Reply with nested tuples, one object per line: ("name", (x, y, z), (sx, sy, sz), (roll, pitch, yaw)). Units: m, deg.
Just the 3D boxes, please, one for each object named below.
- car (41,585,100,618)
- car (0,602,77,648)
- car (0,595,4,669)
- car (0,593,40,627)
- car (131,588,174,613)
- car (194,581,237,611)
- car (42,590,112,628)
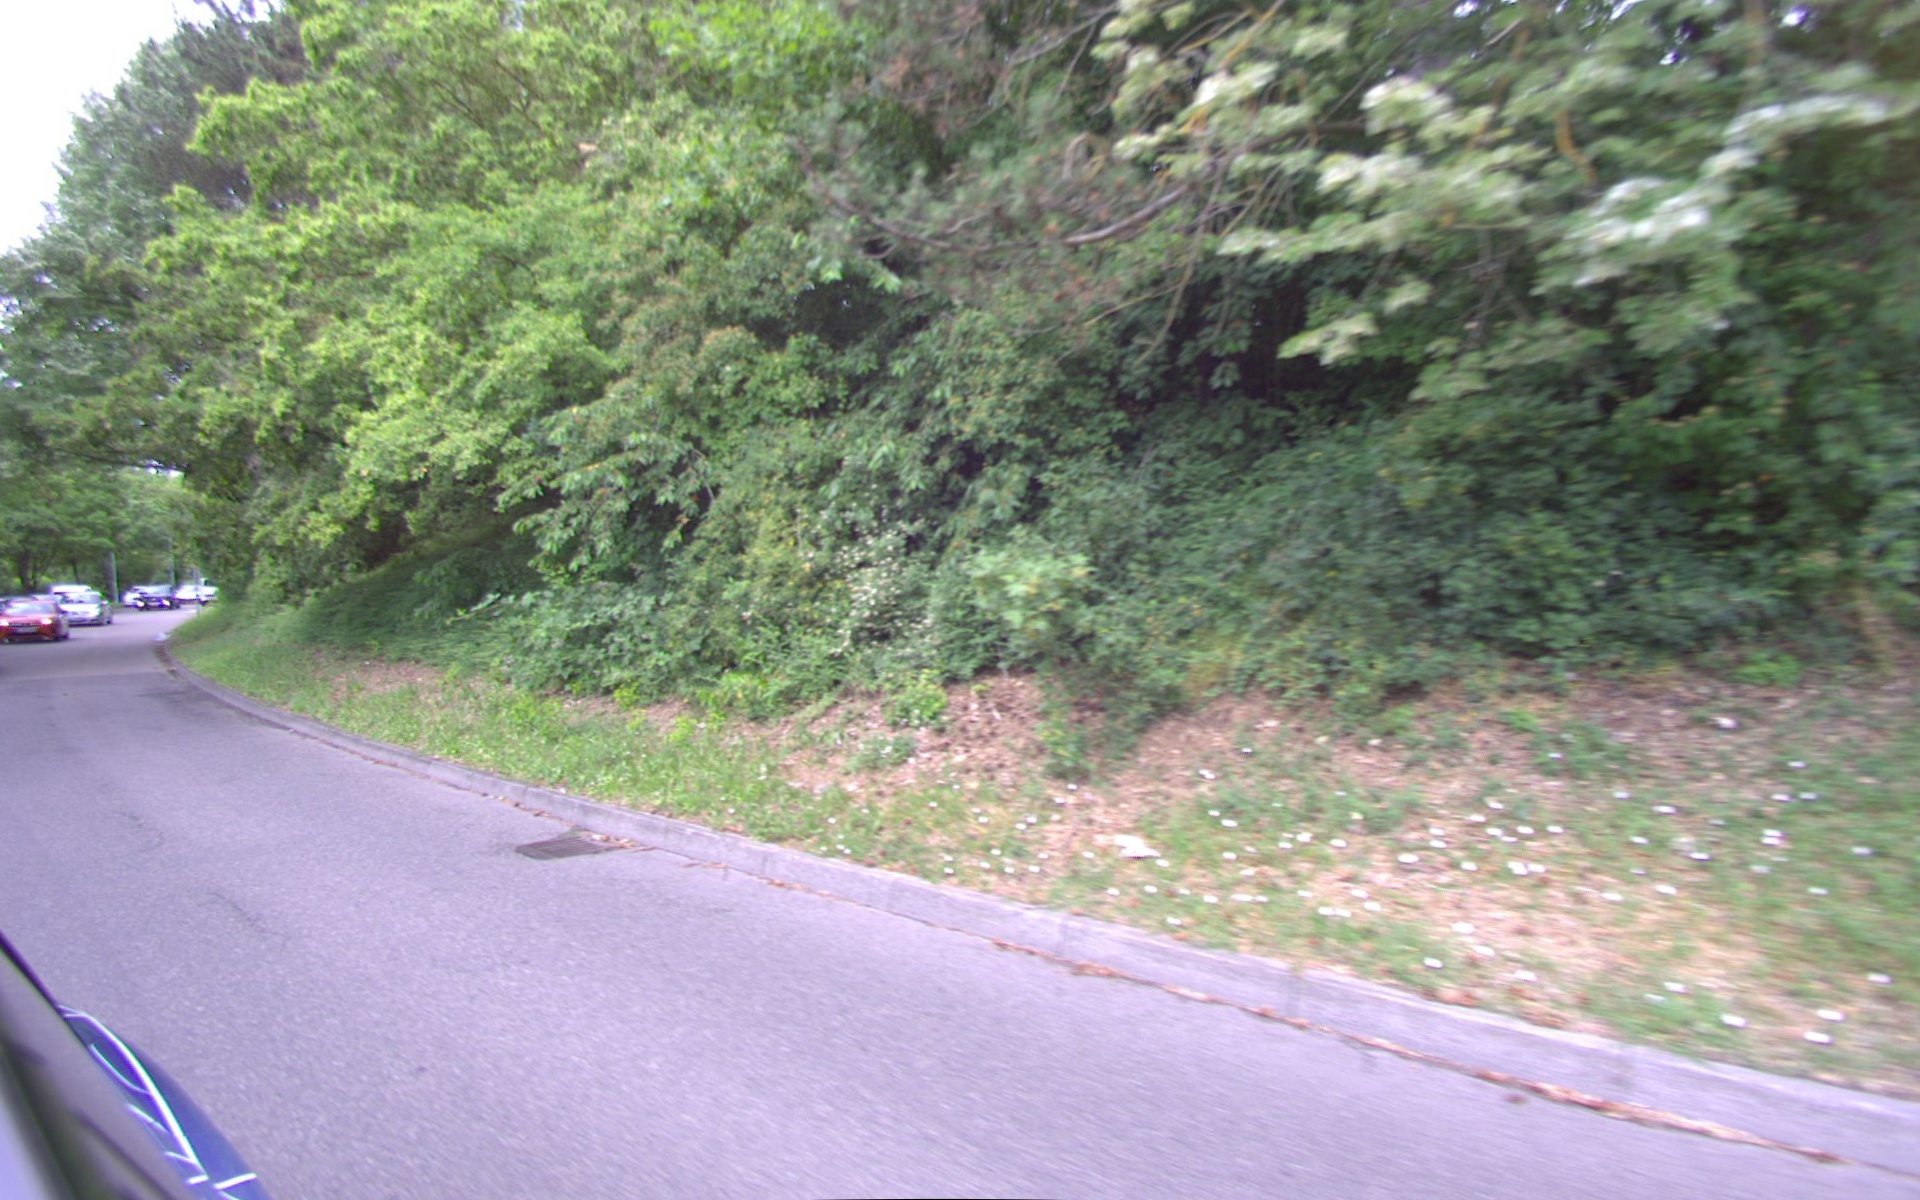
("car", (-50.501, 0.061, 57.528), (1.837, 1.739, 4.187), (-2, 1, -33))
("car", (-32.341, 0.838, 35.208), (1.837, 1.459, 4.187), (-2, 1, -33))
("car", (-21.049, 0.738, 20.565), (1.968, 1.640, 4.634), (-2, 1, -39))
("car", (-43.388, 0.459, 45.857), (1.837, 1.459, 4.187), (-2, 1, -33))
("car", (-52.723, 0.009, 66.151), (1.740, 1.528, 4.011), (-2, 2, -33))
("car", (-53.656, -0.339, 73.033), (2.115, 2.028, 4.012), (-1, 2, -31))
("car", (-40.507, 0.382, 46.530), (1.892, 1.694, 4.011), (0, 0, -34))
